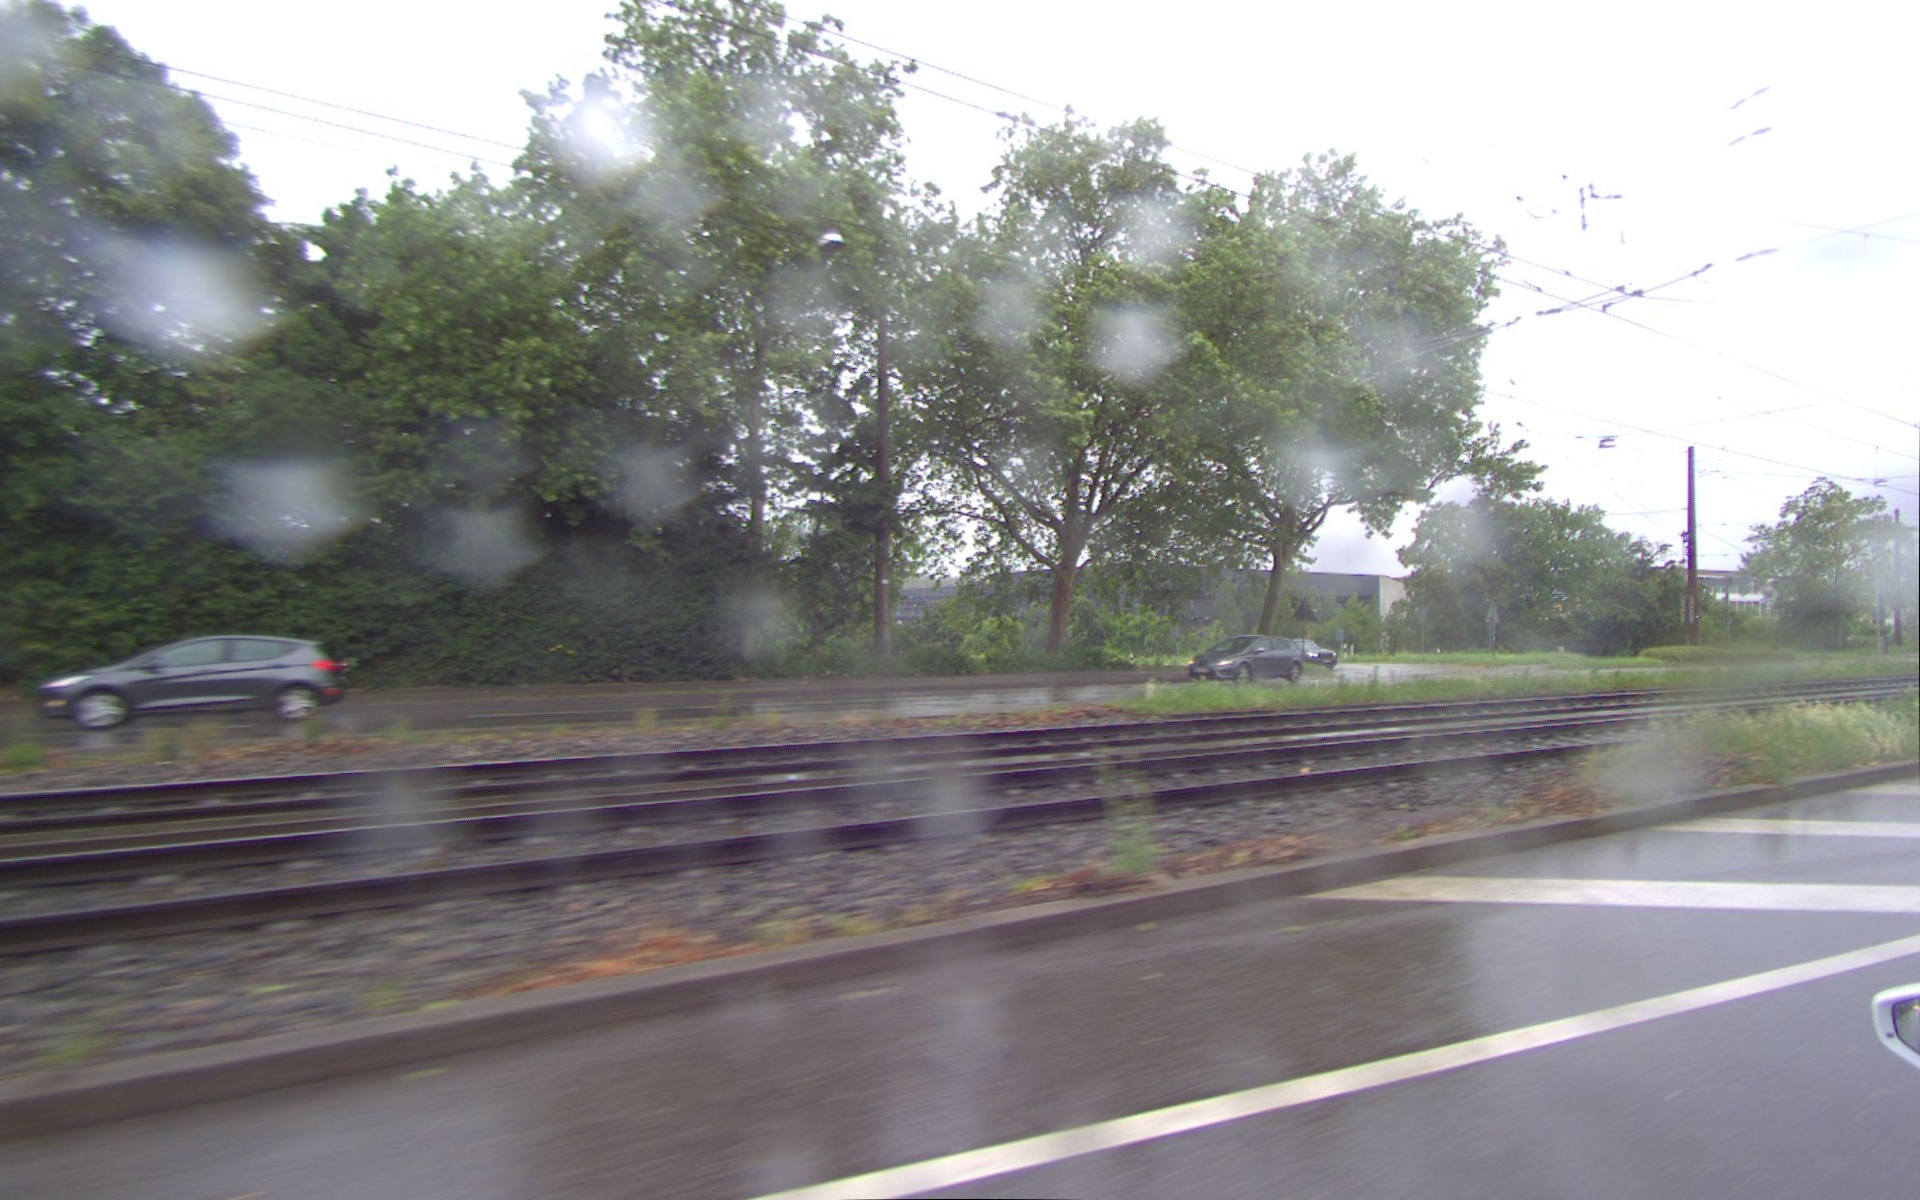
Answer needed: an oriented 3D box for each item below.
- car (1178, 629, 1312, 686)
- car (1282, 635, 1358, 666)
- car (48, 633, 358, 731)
[{"bbox_3d":[8.531,1.683,30.001,4.004,1.589,1.641,2,-1,-33],"label":"car"},{"bbox_3d":[19.639,2.753,55.052,2.179,1.548,4.273,1,-1,-9],"label":"car"},{"bbox_3d":[-12.275,1.284,16.628,3.897,1.424,1.673,2,-1,-33],"label":"car"}]
